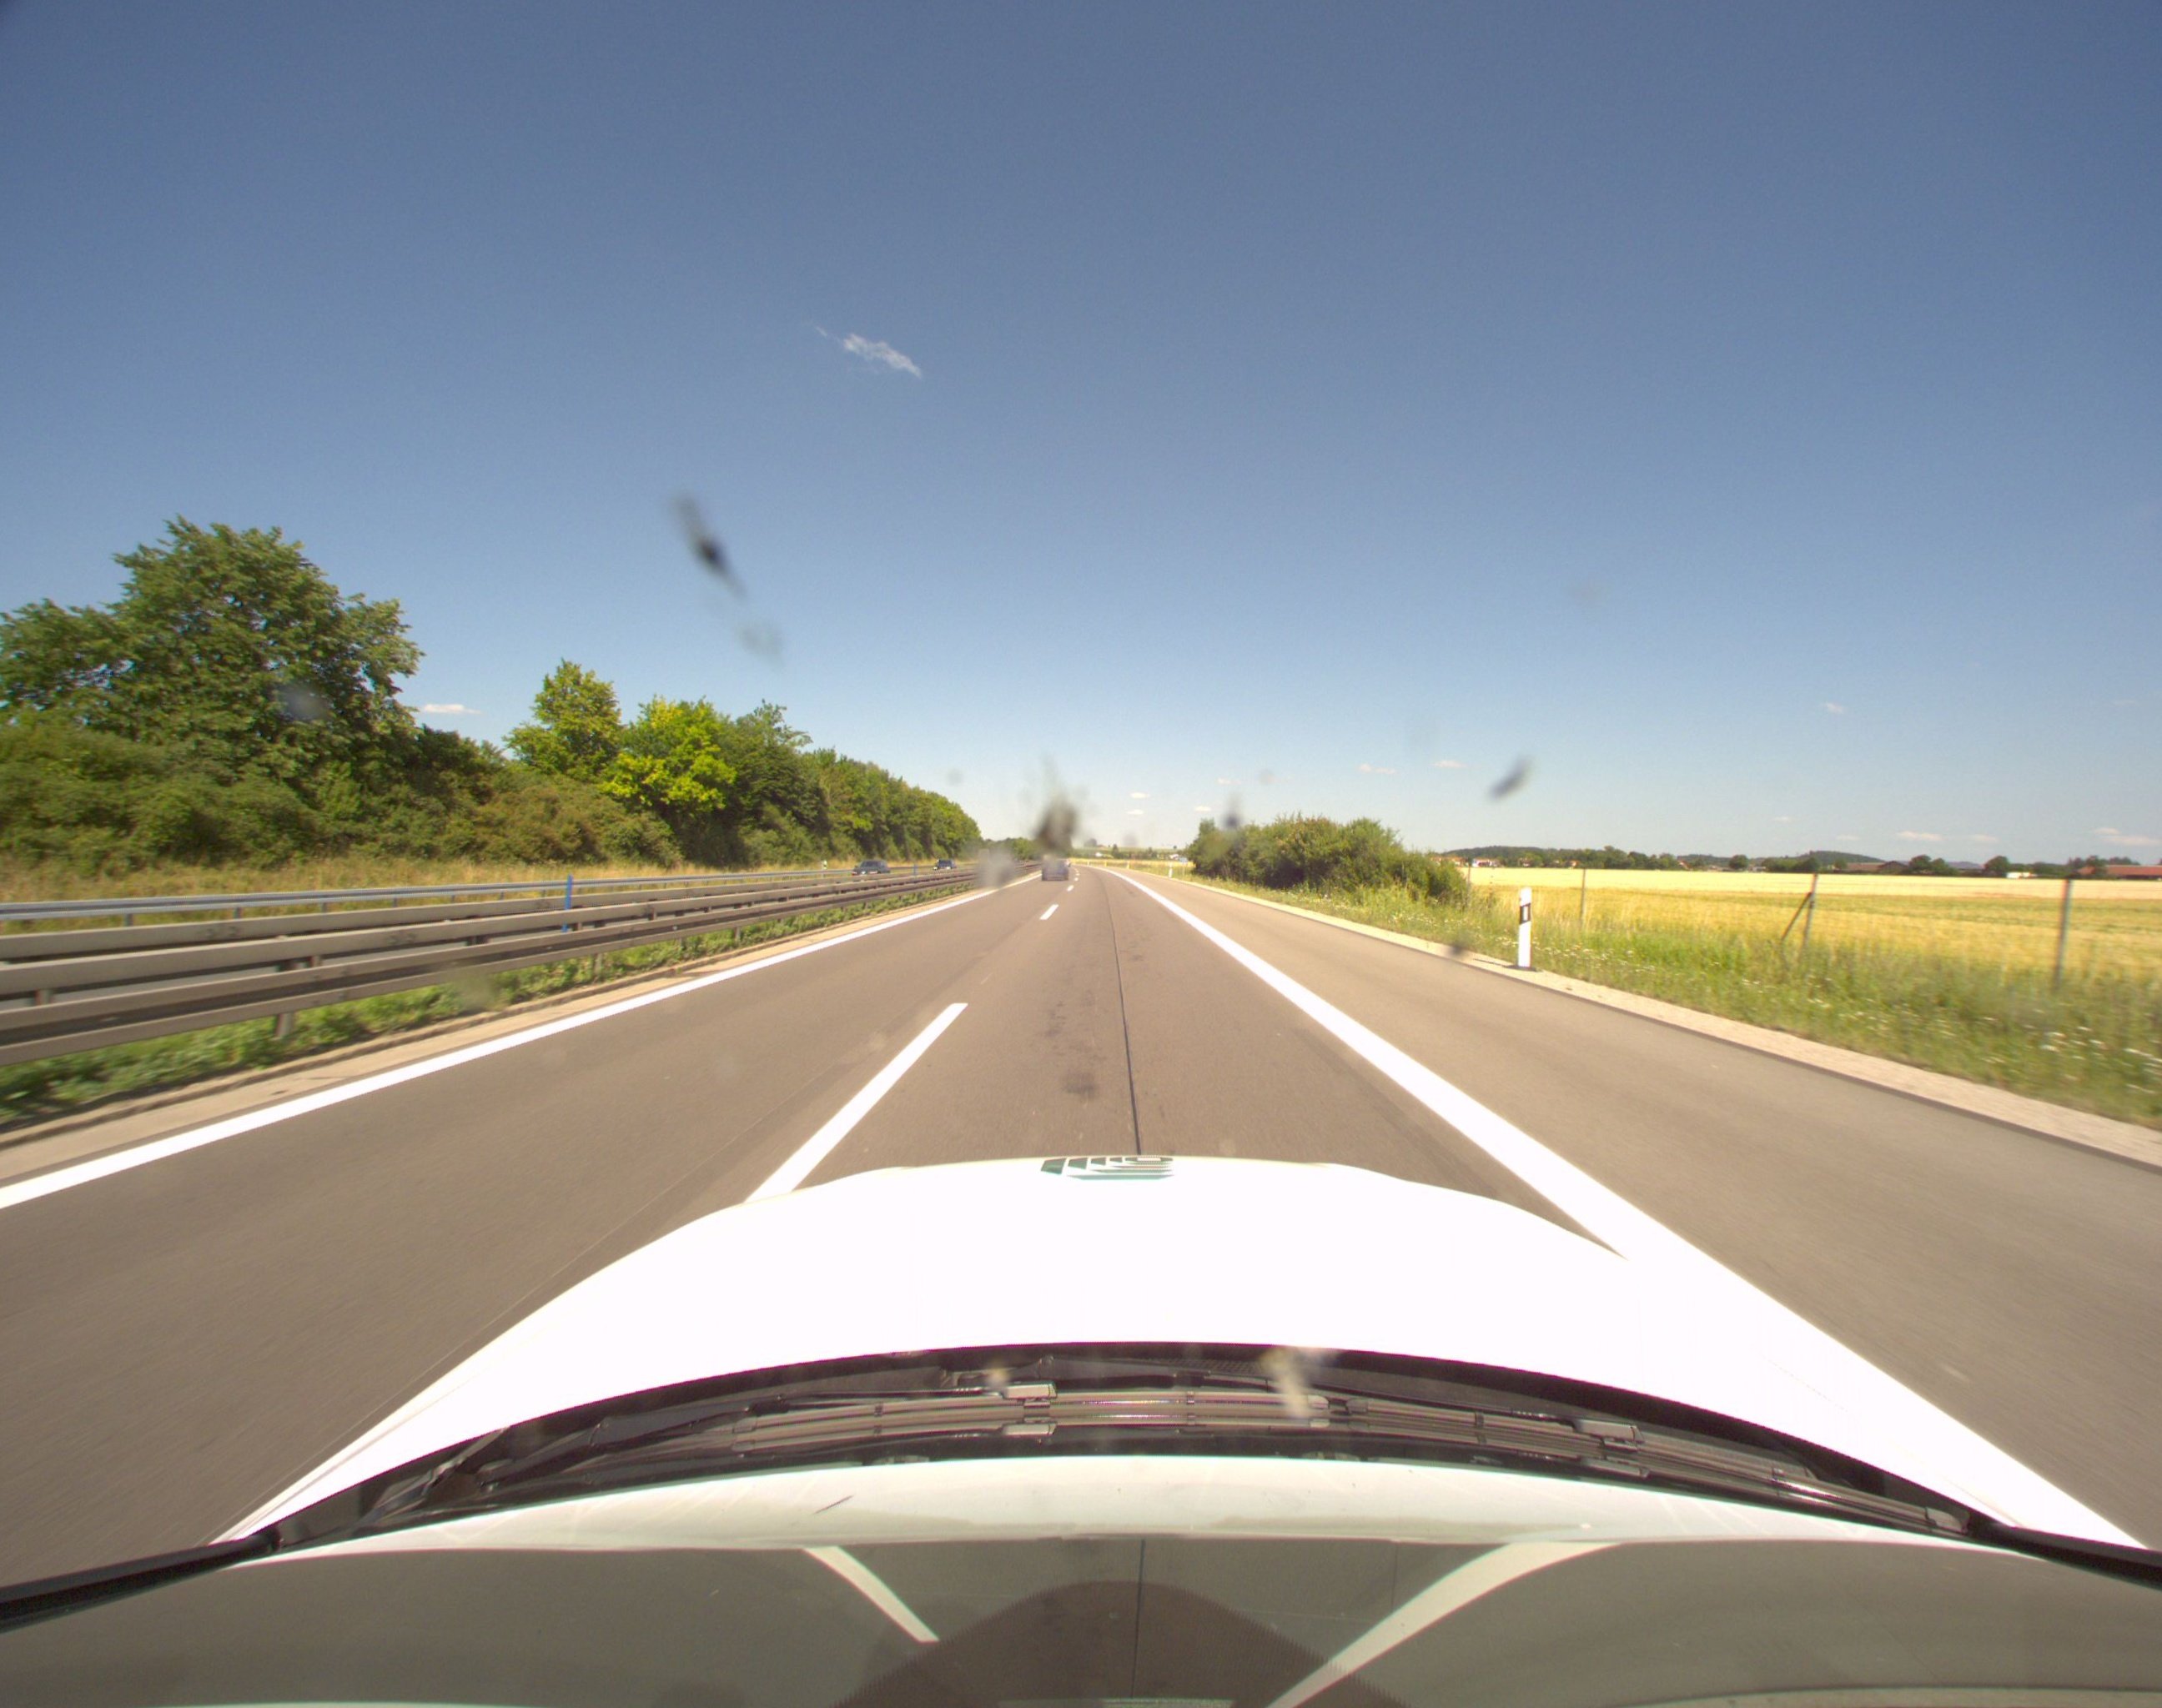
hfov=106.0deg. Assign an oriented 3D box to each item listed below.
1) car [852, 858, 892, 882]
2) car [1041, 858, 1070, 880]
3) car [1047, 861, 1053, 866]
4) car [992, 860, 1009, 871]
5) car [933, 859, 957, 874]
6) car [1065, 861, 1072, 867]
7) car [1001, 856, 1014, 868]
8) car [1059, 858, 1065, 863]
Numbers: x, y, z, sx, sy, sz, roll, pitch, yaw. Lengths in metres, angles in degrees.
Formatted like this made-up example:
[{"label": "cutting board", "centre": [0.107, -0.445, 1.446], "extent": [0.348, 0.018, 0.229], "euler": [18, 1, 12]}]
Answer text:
[{"label": "car", "centre": [-13.597, 1.027, 53.266], "extent": [1.573, 1.462, 4.152], "euler": [0, 0, 0]}, {"label": "car", "centre": [-1.748, 1.045, 57.953], "extent": [1.841, 1.433, 5.865], "euler": [0, 0, 0]}, {"label": "car", "centre": [-9.056, 2.873, 235.780], "extent": [1.672, 1.453, 3.589], "euler": [0, 0, -2]}, {"label": "car", "centre": [-10.247, 1.424, 104.025], "extent": [1.656, 1.422, 4.000], "euler": [0, 0, 0]}, {"label": "car", "centre": [-13.311, 1.211, 79.924], "extent": [1.656, 1.422, 4.000], "euler": [0, 0, 0]}, {"label": "car", "centre": [-3.153, 2.515, 207.746], "extent": [1.671, 1.453, 3.589], "euler": [0, 0, -2]}, {"label": "car", "centre": [-16.854, 1.879, 186.496], "extent": [2.536, 2.595, 6.590], "euler": [1, 0, -1]}, {"label": "car", "centre": [-5.526, 1.970, 240.538], "extent": [1.672, 1.453, 3.587], "euler": [0, 0, -3]}]
